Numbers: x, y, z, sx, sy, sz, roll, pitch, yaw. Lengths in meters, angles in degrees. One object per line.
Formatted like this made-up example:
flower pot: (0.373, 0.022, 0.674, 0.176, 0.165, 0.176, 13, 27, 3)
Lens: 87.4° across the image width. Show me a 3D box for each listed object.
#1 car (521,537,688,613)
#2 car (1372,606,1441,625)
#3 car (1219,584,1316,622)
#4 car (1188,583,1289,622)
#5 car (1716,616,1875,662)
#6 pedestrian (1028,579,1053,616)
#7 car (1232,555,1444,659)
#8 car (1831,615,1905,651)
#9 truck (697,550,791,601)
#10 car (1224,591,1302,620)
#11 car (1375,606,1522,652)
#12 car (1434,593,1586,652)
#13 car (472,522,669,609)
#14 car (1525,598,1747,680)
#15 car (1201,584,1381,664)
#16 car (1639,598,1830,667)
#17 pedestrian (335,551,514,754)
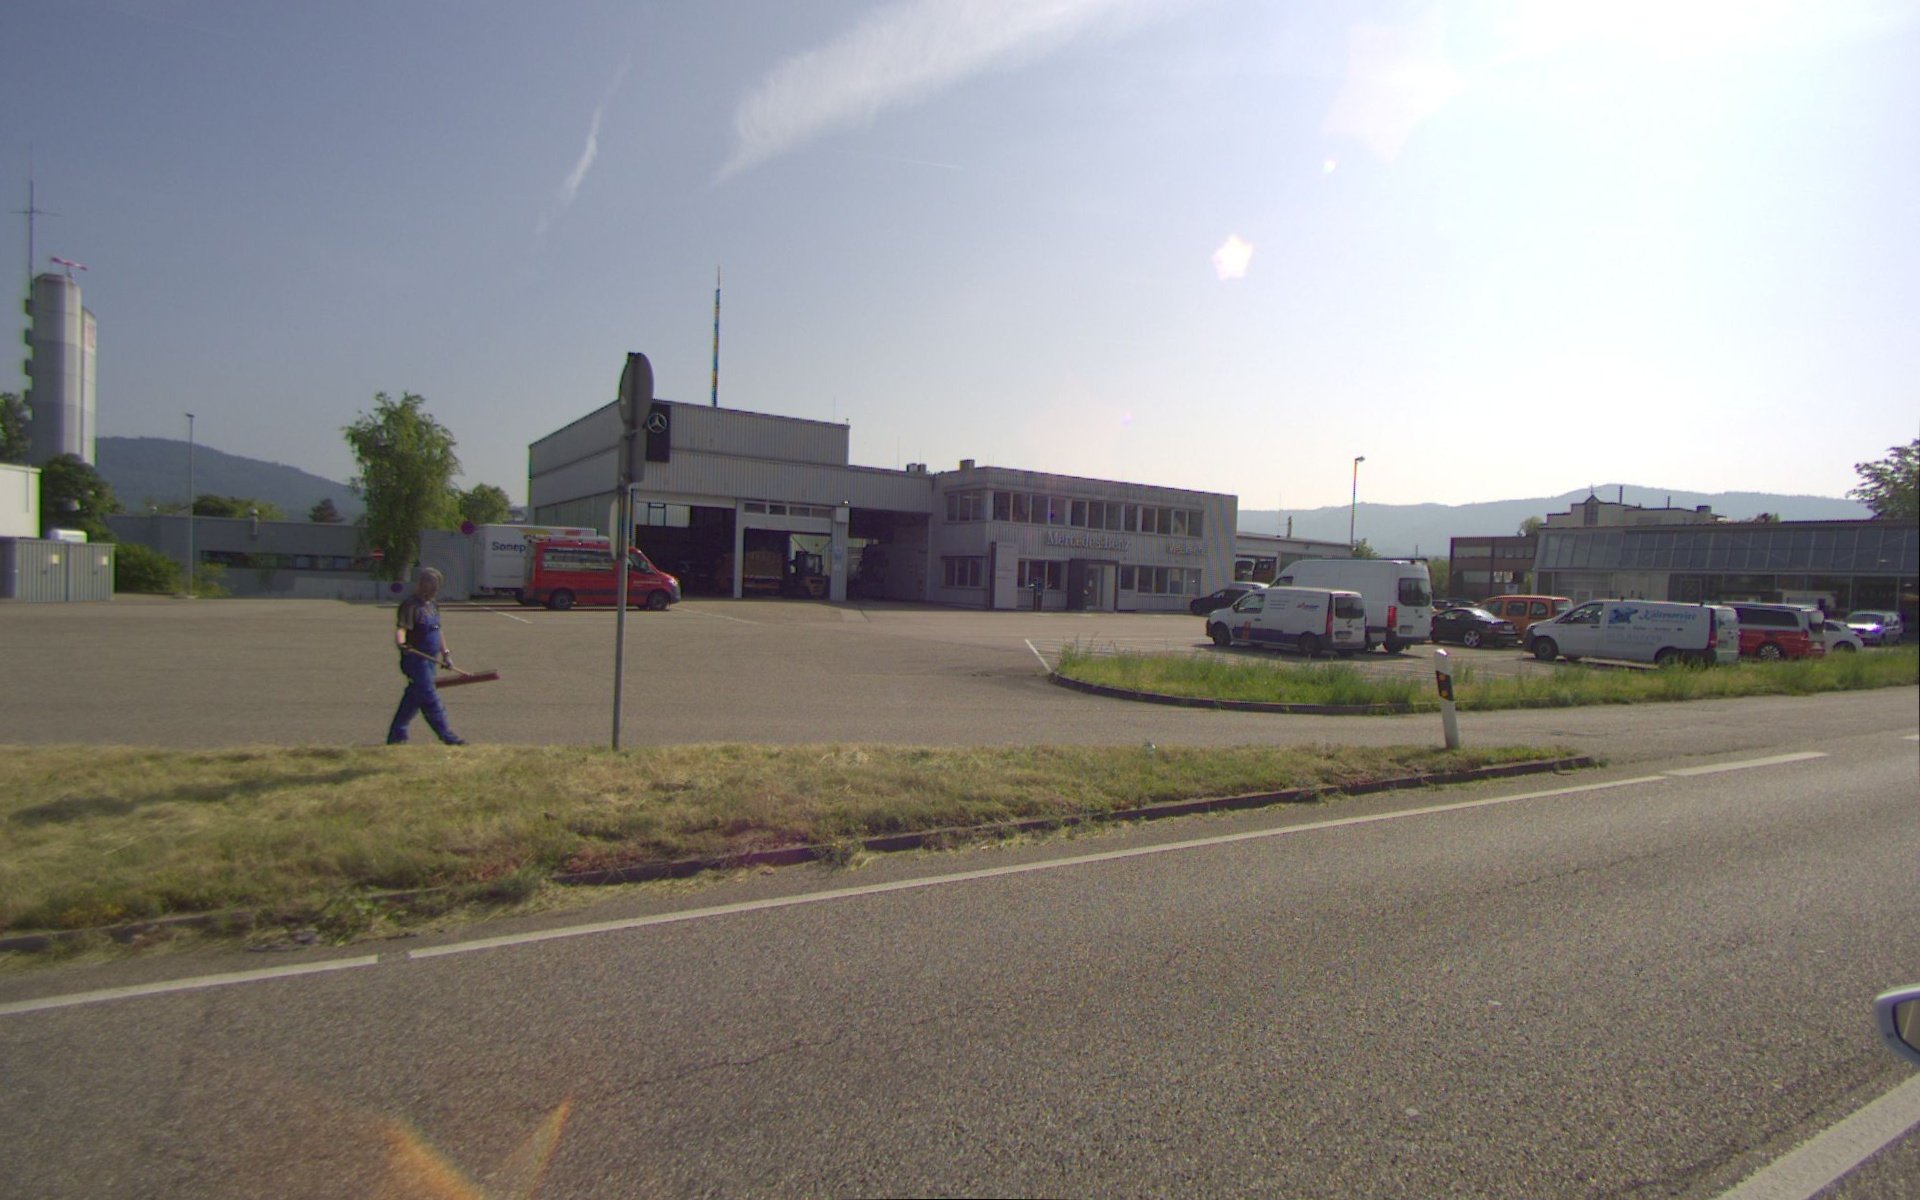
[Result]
car: (-12.270, -0.804, 34.819, 5.167, 2.418, 1.869, 1, 0, -33)
car: (35.139, 1.214, 79.190, 1.886, 1.307, 4.793, 2, 0, -29)
car: (16.186, 0.125, 53.070, 1.931, 1.879, 4.788, 0, 1, -32)
car: (14.271, 0.113, 51.790, 2.187, 1.879, 4.788, 0, 1, -32)
car: (31.387, 1.431, 37.868, 4.146, 1.422, 1.898, 3, 0, 16)
pedestrian: (3.864, -0.125, 48.362, 0.842, 1.712, 0.814, 2, 0, -36)
car: (11.246, 0.112, 30.412, 2.260, 2.781, 5.688, 2, 2, -32)
car: (46.542, 1.663, 51.474, 4.361, 1.736, 1.794, 1, 1, -34)
truck: (-11.427, -1.218, 52.608, 2.426, 2.388, 6.835, 2, -1, -34)
car: (17.777, 0.329, 58.865, 4.781, 1.587, 1.794, 1, 1, -34)
car: (17.072, 0.985, 35.305, 1.781, 1.336, 4.353, 1, 2, -34)
car: (19.909, 0.771, 36.532, 1.981, 1.832, 4.353, 1, 2, -34)
car: (-14.399, -1.198, 37.308, 6.459, 2.894, 2.380, 1, 0, -33)
car: (18.684, 1.004, 27.981, 2.121, 1.882, 4.641, 1, 2, -34)
car: (9.056, 0.607, 27.854, 1.967, 1.864, 4.416, 2, 2, -34)
car: (26.927, 1.075, 35.098, 2.206, 2.008, 4.761, 1, 2, -34)
pedestrian: (-4.778, 0.459, 9.046, 1.122, 1.712, 0.850, 2, 0, -5)
